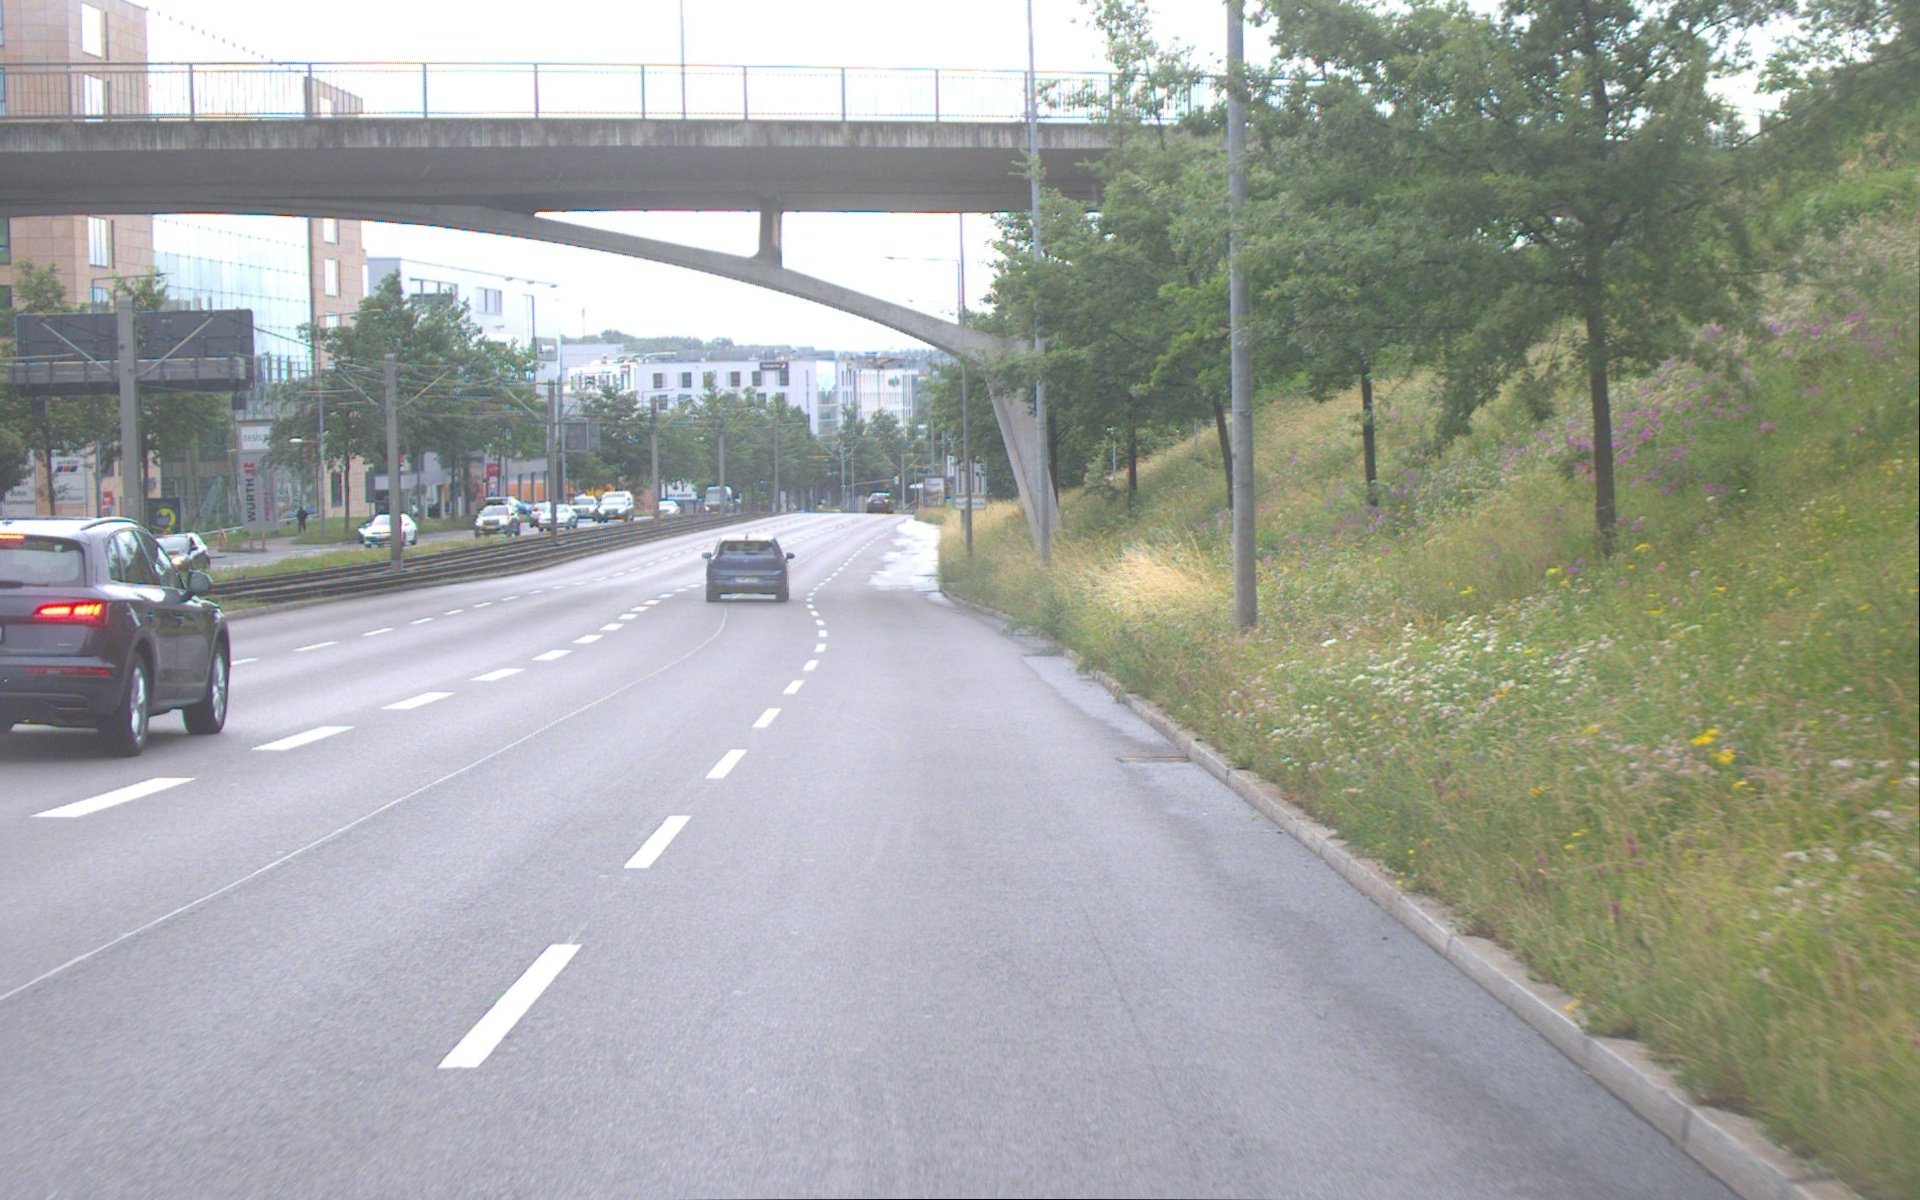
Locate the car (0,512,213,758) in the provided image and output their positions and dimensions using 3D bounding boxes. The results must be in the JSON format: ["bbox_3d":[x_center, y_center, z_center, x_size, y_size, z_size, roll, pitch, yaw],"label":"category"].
[{"bbox_3d":[-6.678,0.201,24.906,1.751,1.612,4.749,0,1,-3],"label":"car"}]

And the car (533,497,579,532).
[{"bbox_3d":[-22.273,-4.715,189.713,1.993,1.729,4.249,1,4,0],"label":"car"}]

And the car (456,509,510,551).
[{"bbox_3d":[-23.239,-3.421,167.593,1.993,2.007,4.000,0,1,1],"label":"car"}]

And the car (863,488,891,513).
[{"bbox_3d":[-6.257,-7.515,259.812,1.862,1.743,4.001,1,4,-4],"label":"car"}]

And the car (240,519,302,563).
[{"bbox_3d":[-31.513,-2.706,157.328,1.993,2.007,4.000,0,1,1],"label":"car"}]

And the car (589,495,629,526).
[{"bbox_3d":[-21.658,-5.527,212.139,1.993,1.729,4.249,1,4,0],"label":"car"}]

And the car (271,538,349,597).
[{"bbox_3d":[-21.419,-1.097,113.369,1.993,1.700,4.001,1,4,-3],"label":"car"}]

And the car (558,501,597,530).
[{"bbox_3d":[-24.785,-5.482,222.682,1.993,1.729,4.249,1,4,0],"label":"car"}]

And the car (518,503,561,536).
[{"bbox_3d":[-25.233,-4.834,206.294,1.993,1.729,4.249,1,4,0],"label":"car"}]

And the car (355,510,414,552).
[{"bbox_3d":[-26.708,-3.200,159.732,1.993,1.729,4.249,1,4,0],"label":"car"}]

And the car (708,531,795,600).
[{"bbox_3d":[-4.540,-0.769,75.199,1.748,1.415,3.479,0,2,-1],"label":"car"}]

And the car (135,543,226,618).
[{"bbox_3d":[-23.790,-0.615,105.070,1.993,2.006,4.001,1,4,-2],"label":"car"}]
